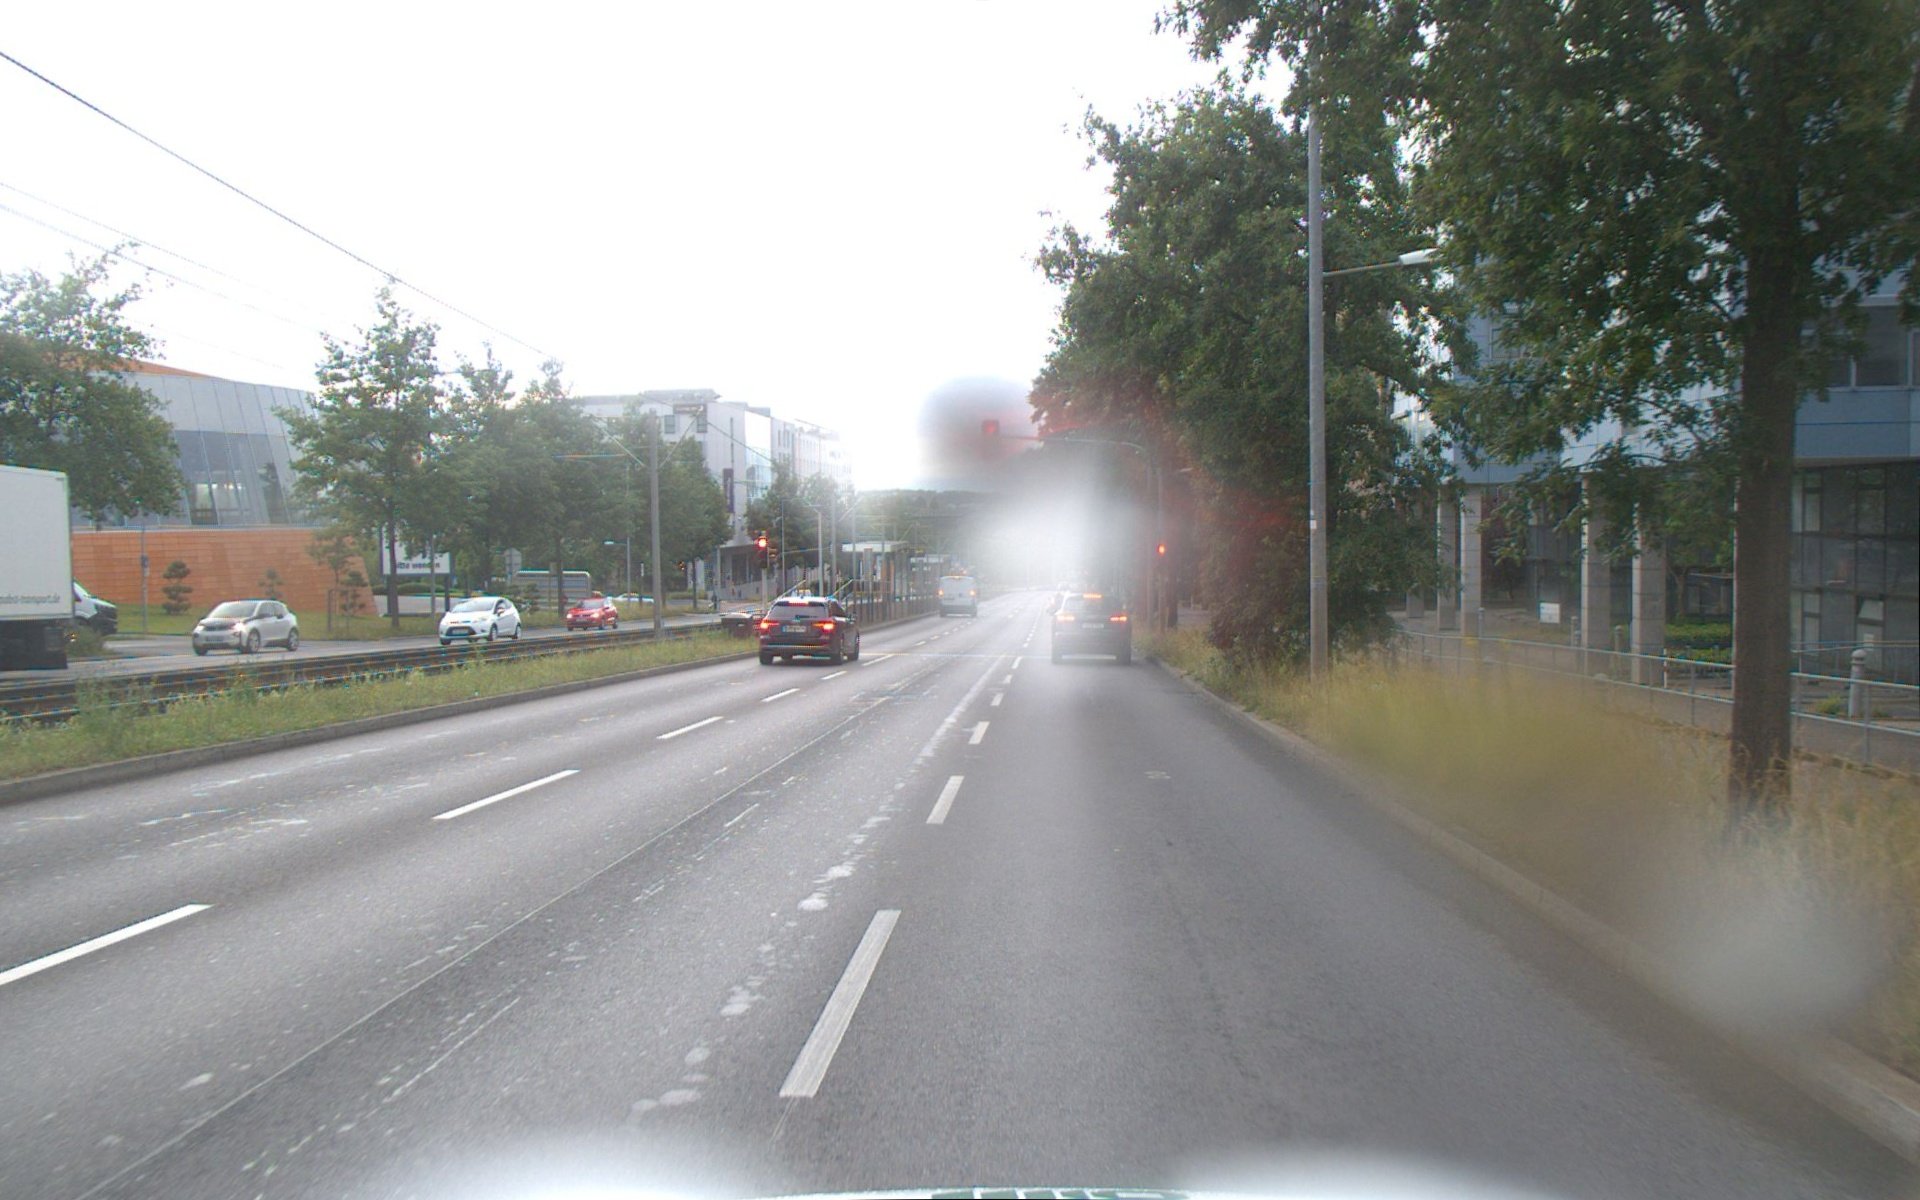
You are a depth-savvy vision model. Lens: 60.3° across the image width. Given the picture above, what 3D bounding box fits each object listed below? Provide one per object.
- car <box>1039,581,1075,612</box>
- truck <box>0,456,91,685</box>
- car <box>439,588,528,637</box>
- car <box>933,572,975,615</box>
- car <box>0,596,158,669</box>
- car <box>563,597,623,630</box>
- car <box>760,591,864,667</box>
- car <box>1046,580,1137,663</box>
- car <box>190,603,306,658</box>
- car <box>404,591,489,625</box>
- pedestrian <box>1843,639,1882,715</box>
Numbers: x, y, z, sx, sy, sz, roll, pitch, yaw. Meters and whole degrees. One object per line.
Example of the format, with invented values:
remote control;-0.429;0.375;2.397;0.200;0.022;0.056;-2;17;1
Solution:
car;6.100;-0.245;103.574;2.005;1.772;4.578;1;2;7
truck;-19.446;-0.438;25.243;2.979;4.253;17.206;1;1;1
car;-15.141;0.386;52.741;1.628;1.467;3.897;1;0;1
car;-0.382;-0.412;94.845;2.222;2.324;4.758;1;2;-2
car;-31.320;1.130;57.809;5.548;2.475;2.257;1;0;-17
car;-16.934;0.623;76.473;1.628;1.467;3.898;1;0;4
car;-3.196;0.580;36.528;1.749;1.438;4.807;1;2;1
car;3.020;0.452;38.808;1.883;1.740;4.099;1;2;1
car;-21.503;0.893;50.111;1.628;1.571;3.898;1;0;4
car;-29.490;0.462;95.115;4.234;1.841;2.099;1;1;-1
pedestrian;17.257;1.463;31.622;0.492;1.433;0.457;1;0;3
